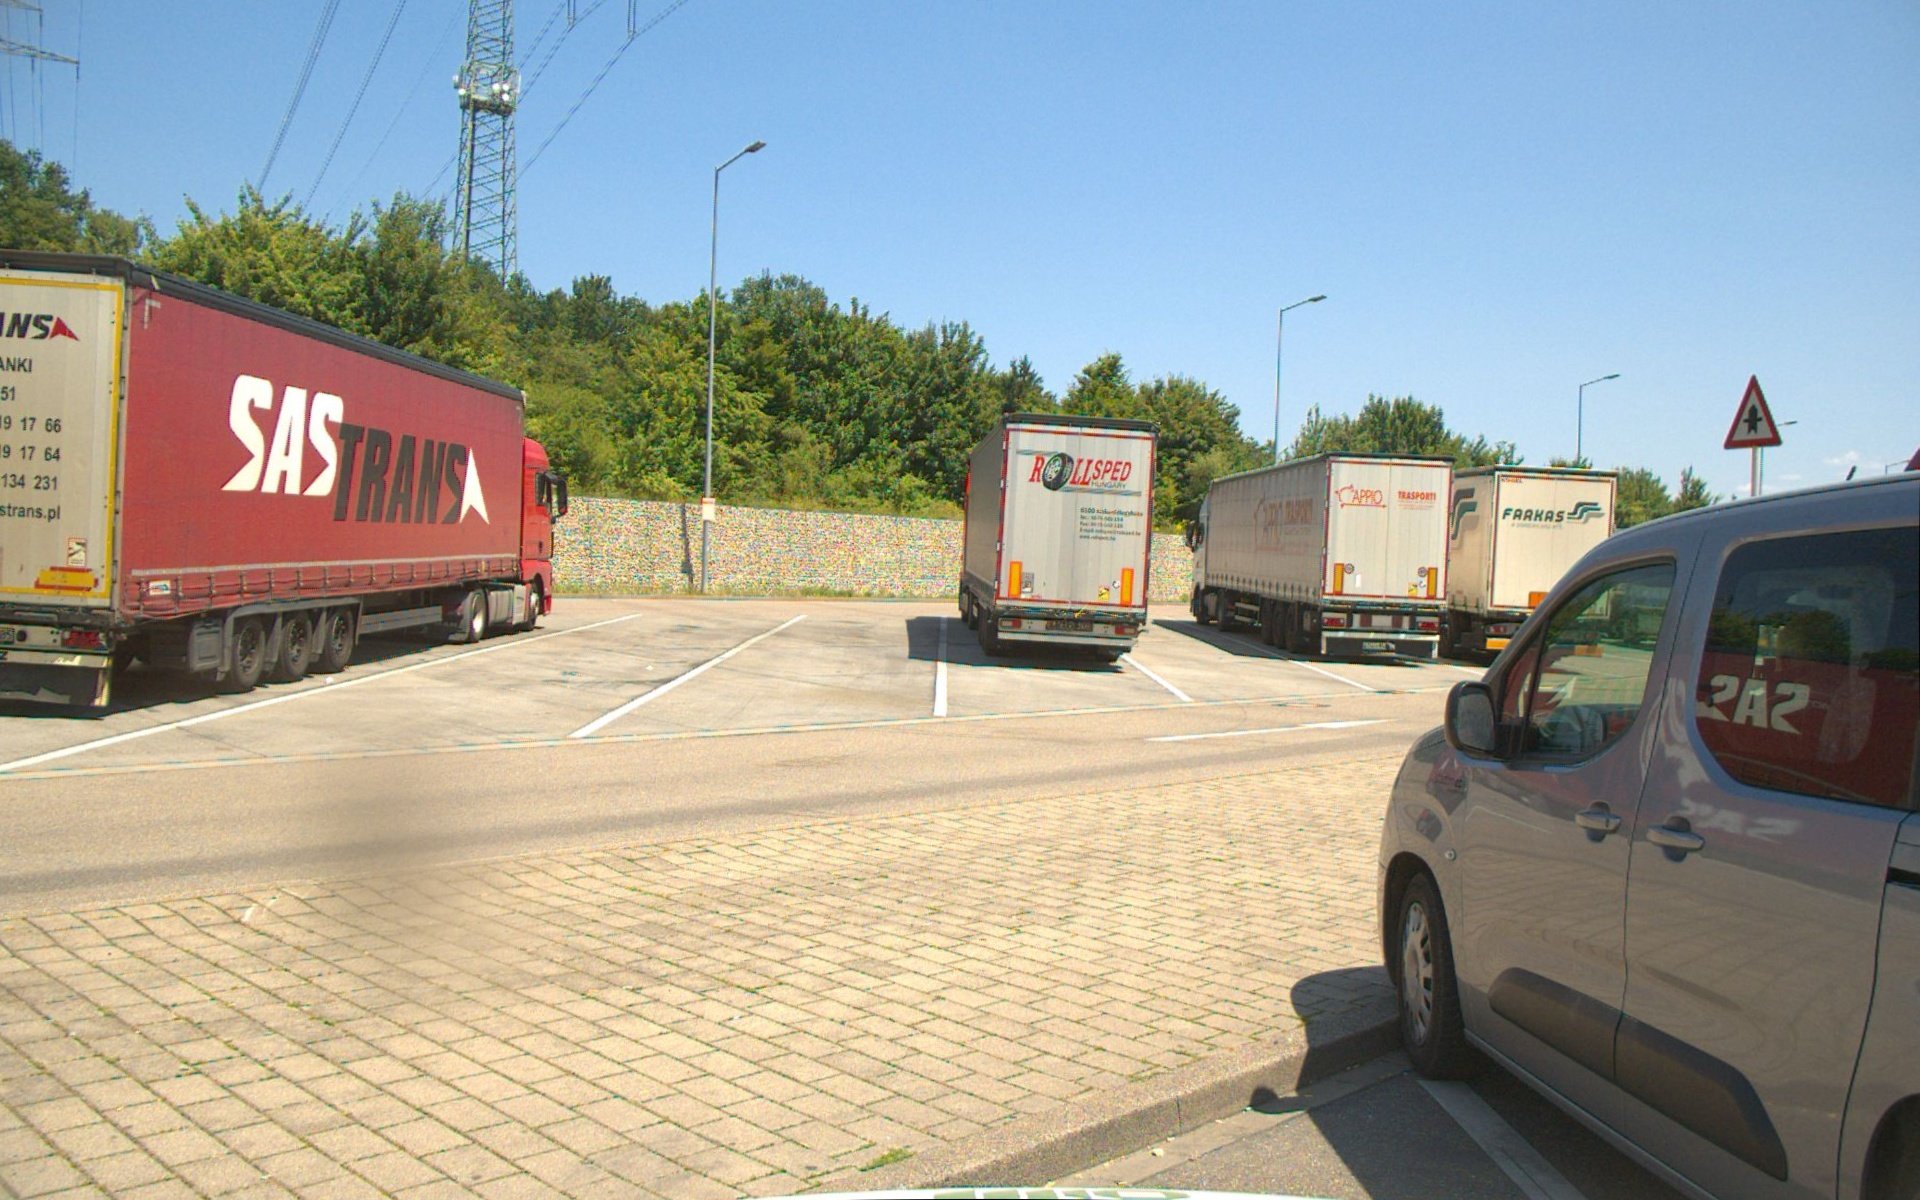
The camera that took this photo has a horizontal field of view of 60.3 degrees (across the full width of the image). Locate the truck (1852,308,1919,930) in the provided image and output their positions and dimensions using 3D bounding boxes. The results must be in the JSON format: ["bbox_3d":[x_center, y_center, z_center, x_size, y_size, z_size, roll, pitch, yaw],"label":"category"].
[{"bbox_3d":[4.975,0.131,4.952,1.952,2.669,5.305,1,1,3],"label":"truck"}]

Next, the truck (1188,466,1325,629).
[{"bbox_3d":[8.062,-1.413,45.625,2.701,4.196,5.283,1,1,-1],"label":"truck"}]

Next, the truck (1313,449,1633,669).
[{"bbox_3d":[11.708,-0.958,40.010,2.846,4.195,14.525,3,1,-1],"label":"truck"}]

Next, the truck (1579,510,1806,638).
[{"bbox_3d":[21.947,-0.809,50.203,2.963,3.497,8.529,1,1,-1],"label":"truck"}]

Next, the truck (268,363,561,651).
[{"bbox_3d":[-8.782,-1.424,27.552,2.687,4.152,6.828,1,1,-1],"label":"truck"}]

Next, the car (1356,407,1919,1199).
[{"bbox_3d":[2.428,0.558,3.831,1.790,1.784,3.997,1,1,-4],"label":"car"}]

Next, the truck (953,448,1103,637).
[{"bbox_3d":[1.458,-1.382,39.459,2.965,3.997,6.845,2,2,-2],"label":"truck"}]

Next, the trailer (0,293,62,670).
[{"bbox_3d":[-12.415,-1.312,15.461,2.689,4.337,9.733,1,1,0],"label":"trailer"}]

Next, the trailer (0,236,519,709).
[{"bbox_3d":[-8.688,-1.263,21.132,2.694,4.128,13.284,1,1,-1],"label":"trailer"}]

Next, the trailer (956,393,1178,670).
[{"bbox_3d":[1.691,-1.317,32.693,3.008,4.301,12.805,2,2,-2],"label":"trailer"}]

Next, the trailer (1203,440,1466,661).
[{"bbox_3d":[8.197,-1.088,38.626,2.818,4.196,13.569,1,1,-1],"label":"trailer"}]
